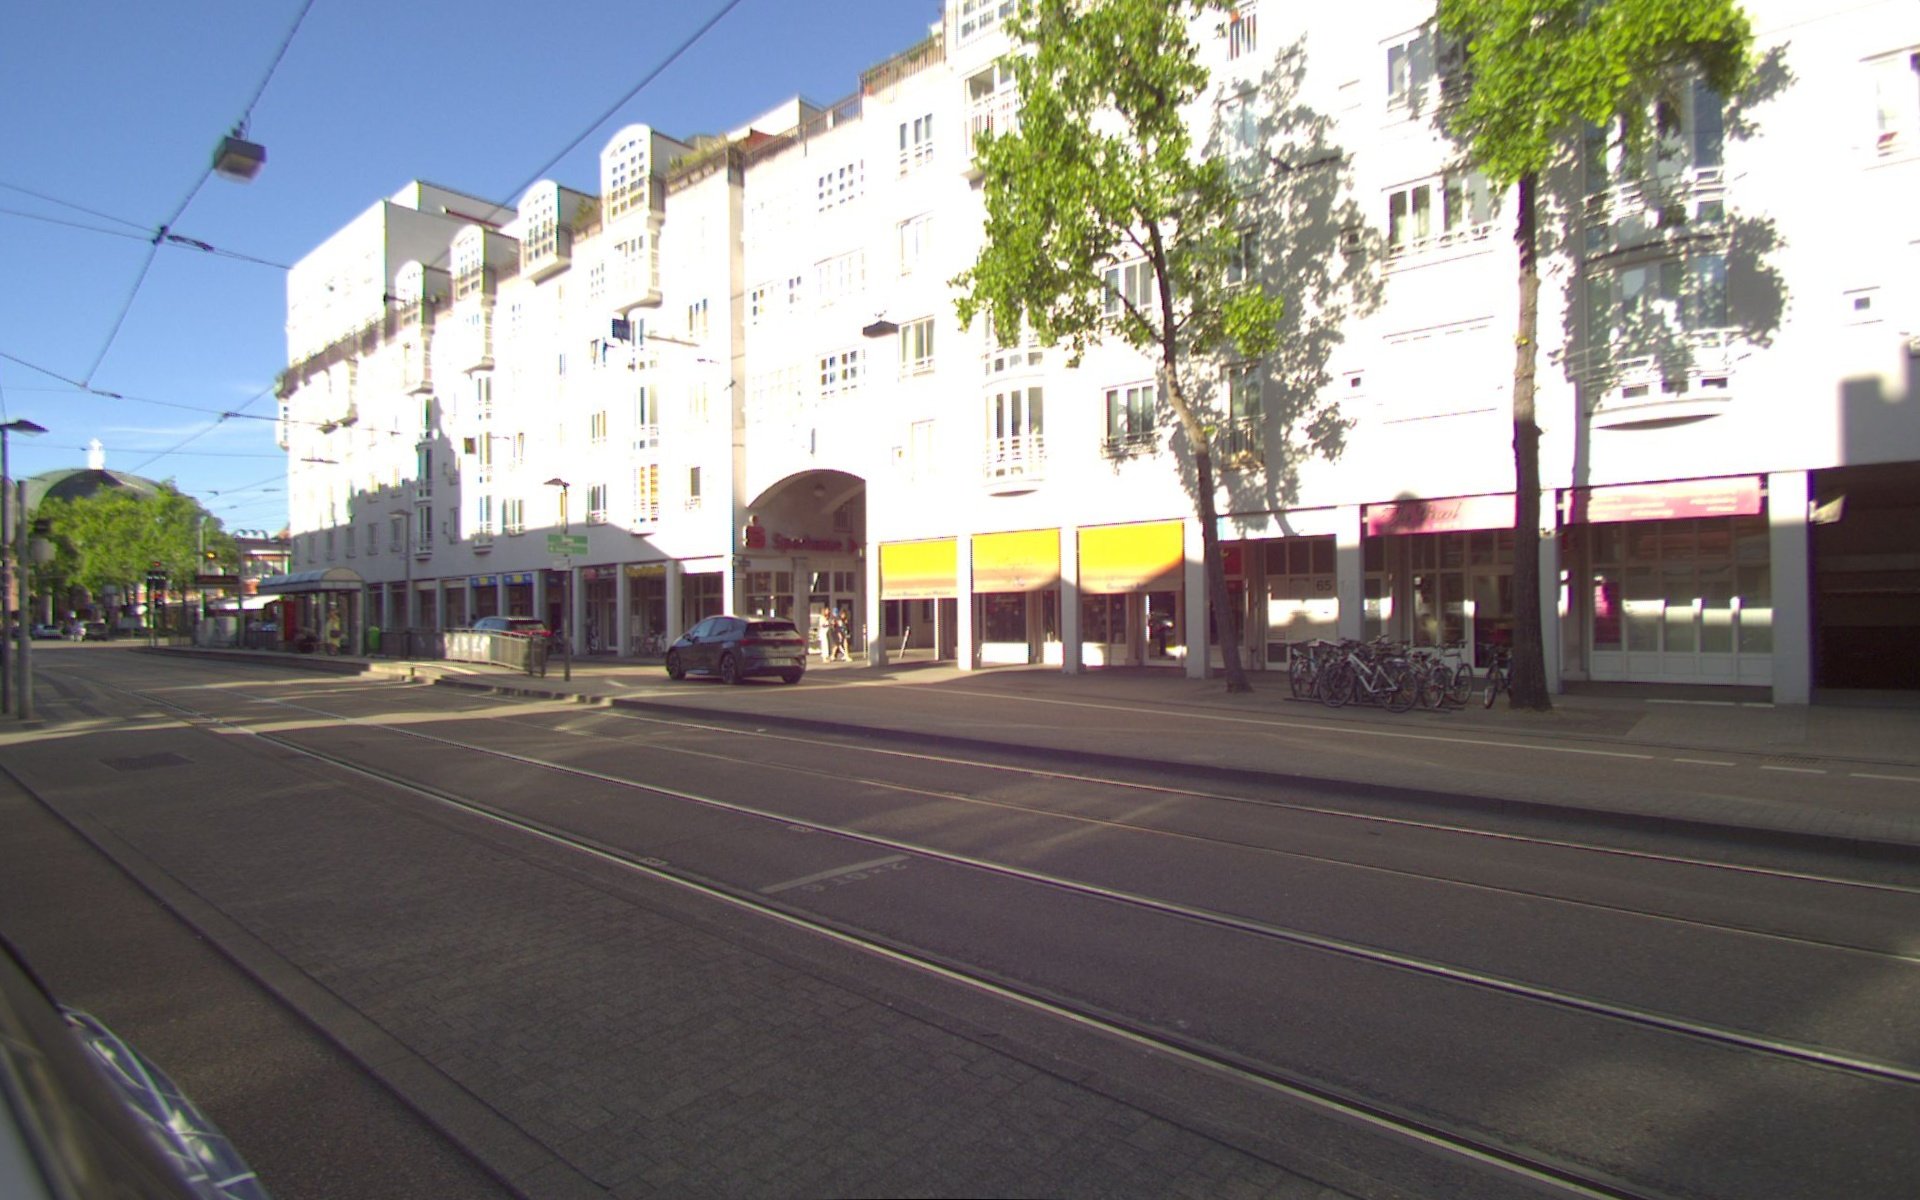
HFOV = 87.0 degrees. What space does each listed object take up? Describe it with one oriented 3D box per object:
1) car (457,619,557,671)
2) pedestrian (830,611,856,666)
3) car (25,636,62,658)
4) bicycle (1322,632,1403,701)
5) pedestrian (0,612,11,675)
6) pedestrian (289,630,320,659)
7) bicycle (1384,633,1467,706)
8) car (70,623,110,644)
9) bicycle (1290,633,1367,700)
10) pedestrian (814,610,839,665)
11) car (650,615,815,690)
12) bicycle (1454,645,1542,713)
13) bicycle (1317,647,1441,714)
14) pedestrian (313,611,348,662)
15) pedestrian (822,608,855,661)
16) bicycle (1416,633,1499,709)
[{"bbox_3d":[-15.689,1.525,34.933,1.758,1.681,4.776,1,-2,-42],"label":"car"},{"bbox_3d":[-3.576,1.156,30.907,0.523,1.657,0.556,-2,-2,42],"label":"pedestrian"},{"bbox_3d":[-85.050,4.339,93.925,3.995,1.918,1.974,-2,-1,39],"label":"car"},{"bbox_3d":[6.911,1.116,17.326,1.850,1.085,0.465,0,-1,-41],"label":"bicycle"},{"bbox_3d":[-25.845,1.163,27.043,0.400,1.657,0.707,-2,-1,43],"label":"pedestrian"},{"bbox_3d":[-24.016,1.633,37.051,0.747,0.995,0.784,0,0,42],"label":"pedestrian"},{"bbox_3d":[7.560,1.103,16.399,1.850,1.085,0.465,0,-1,-41],"label":"bicycle"},{"bbox_3d":[-70.678,2.719,82.230,3.999,1.630,1.972,-2,-1,42],"label":"car"},{"bbox_3d":[6.514,1.138,17.841,1.851,1.085,0.512,0,-2,-44],"label":"bicycle"},{"bbox_3d":[-4.037,1.124,30.624,0.523,1.657,0.556,-2,-2,42],"label":"pedestrian"},{"bbox_3d":[-5.296,1.183,23.256,1.758,1.552,4.272,4,-4,-43],"label":"car"},{"bbox_3d":[8.334,1.196,15.638,1.726,0.939,0.571,0,-1,-40],"label":"bicycle"},{"bbox_3d":[6.481,1.222,15.723,0.464,0.939,1.757,0,-1,-39],"label":"bicycle"},{"bbox_3d":[-21.156,1.219,34.015,0.747,1.657,0.784,-2,-1,42],"label":"pedestrian"},{"bbox_3d":[-3.854,1.074,32.177,0.731,1.657,0.737,-2,-2,42],"label":"pedestrian"},{"bbox_3d":[7.854,1.090,15.932,1.850,1.085,0.465,0,-1,-41],"label":"bicycle"}]
